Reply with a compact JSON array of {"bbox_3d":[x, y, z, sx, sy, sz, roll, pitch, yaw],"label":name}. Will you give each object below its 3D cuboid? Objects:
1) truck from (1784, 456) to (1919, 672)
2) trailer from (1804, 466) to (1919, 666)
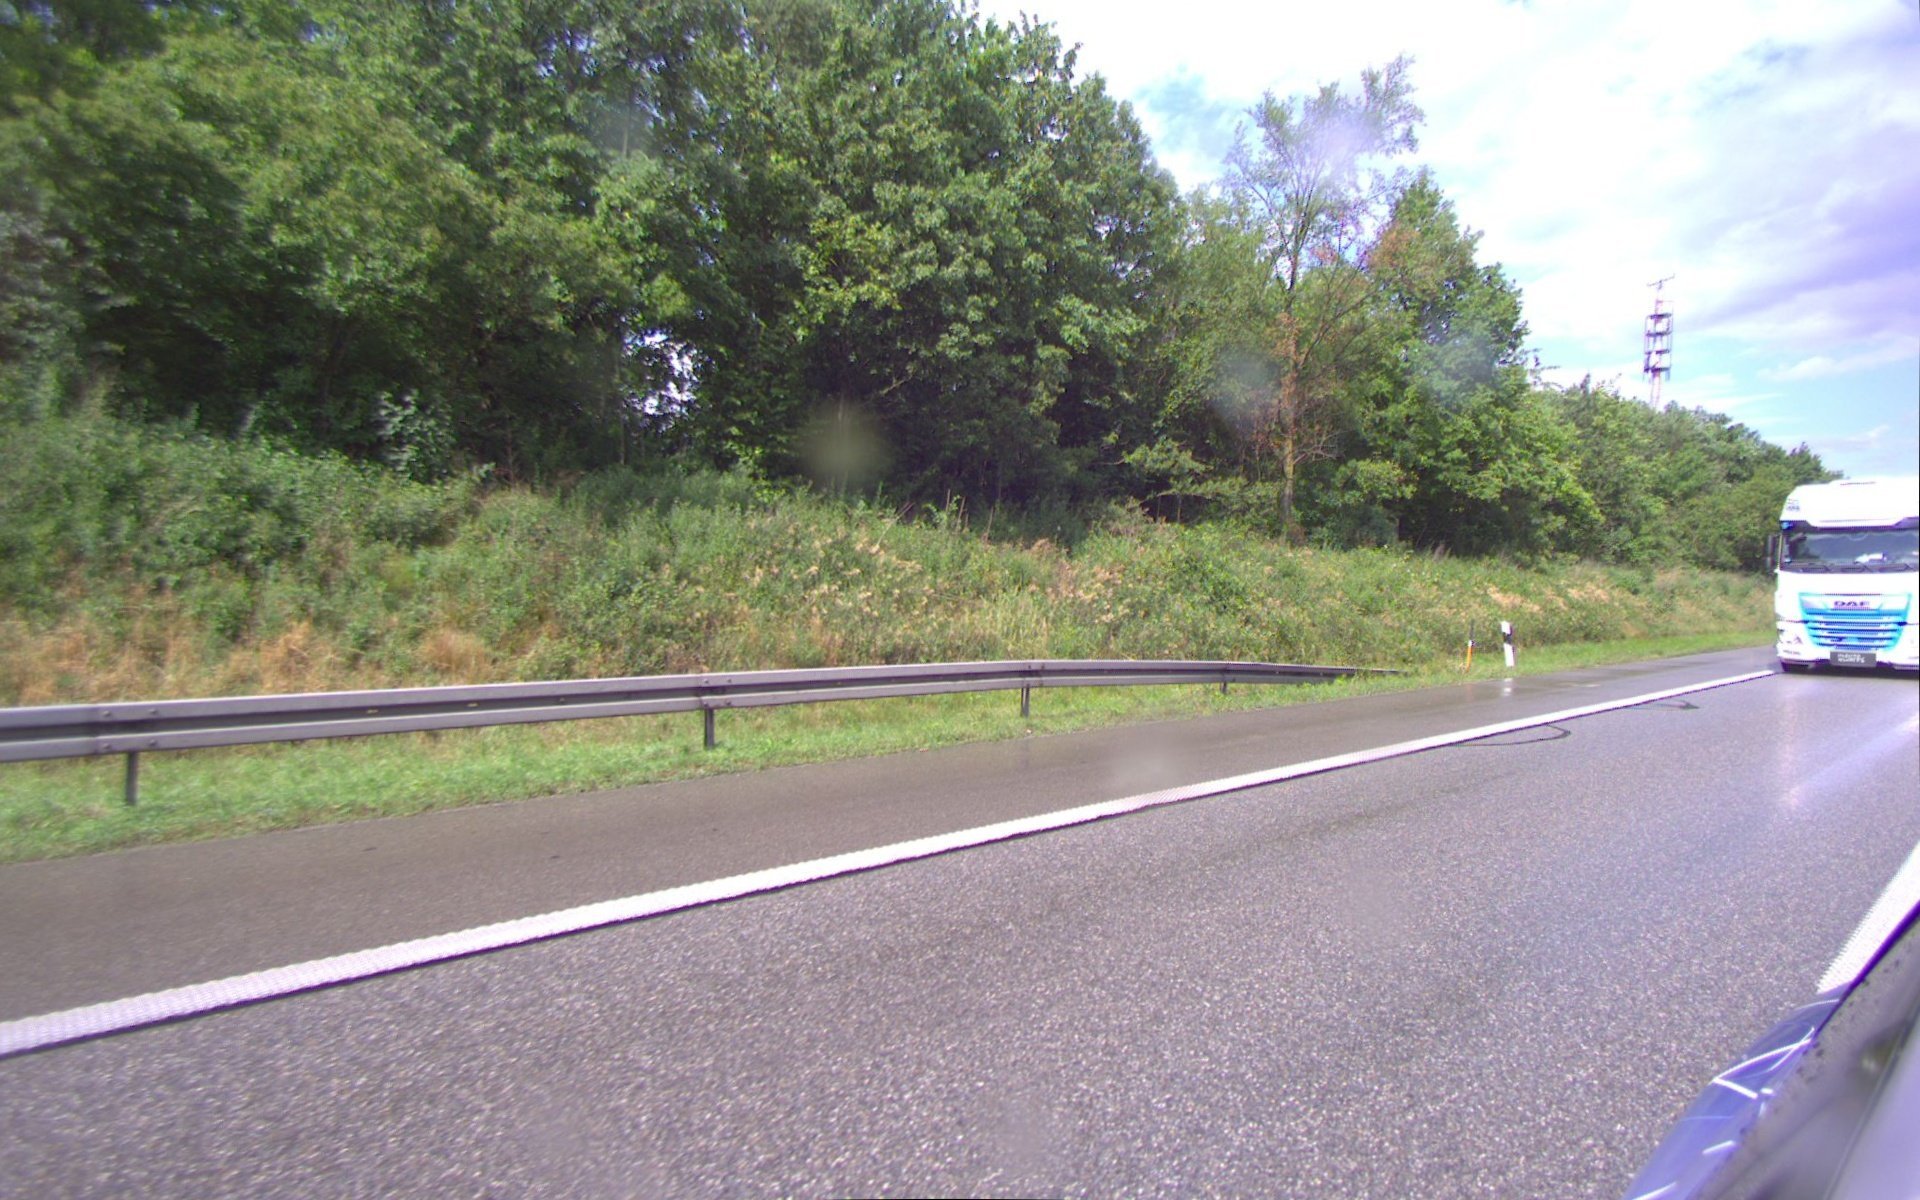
[{"bbox_3d":[20.177,-0.698,21.880,7.165,4.046,2.610,0,0,-42],"label":"truck"},{"bbox_3d":[24.249,-0.728,25.544,13.823,4.046,2.638,0,0,-42],"label":"trailer"}]
